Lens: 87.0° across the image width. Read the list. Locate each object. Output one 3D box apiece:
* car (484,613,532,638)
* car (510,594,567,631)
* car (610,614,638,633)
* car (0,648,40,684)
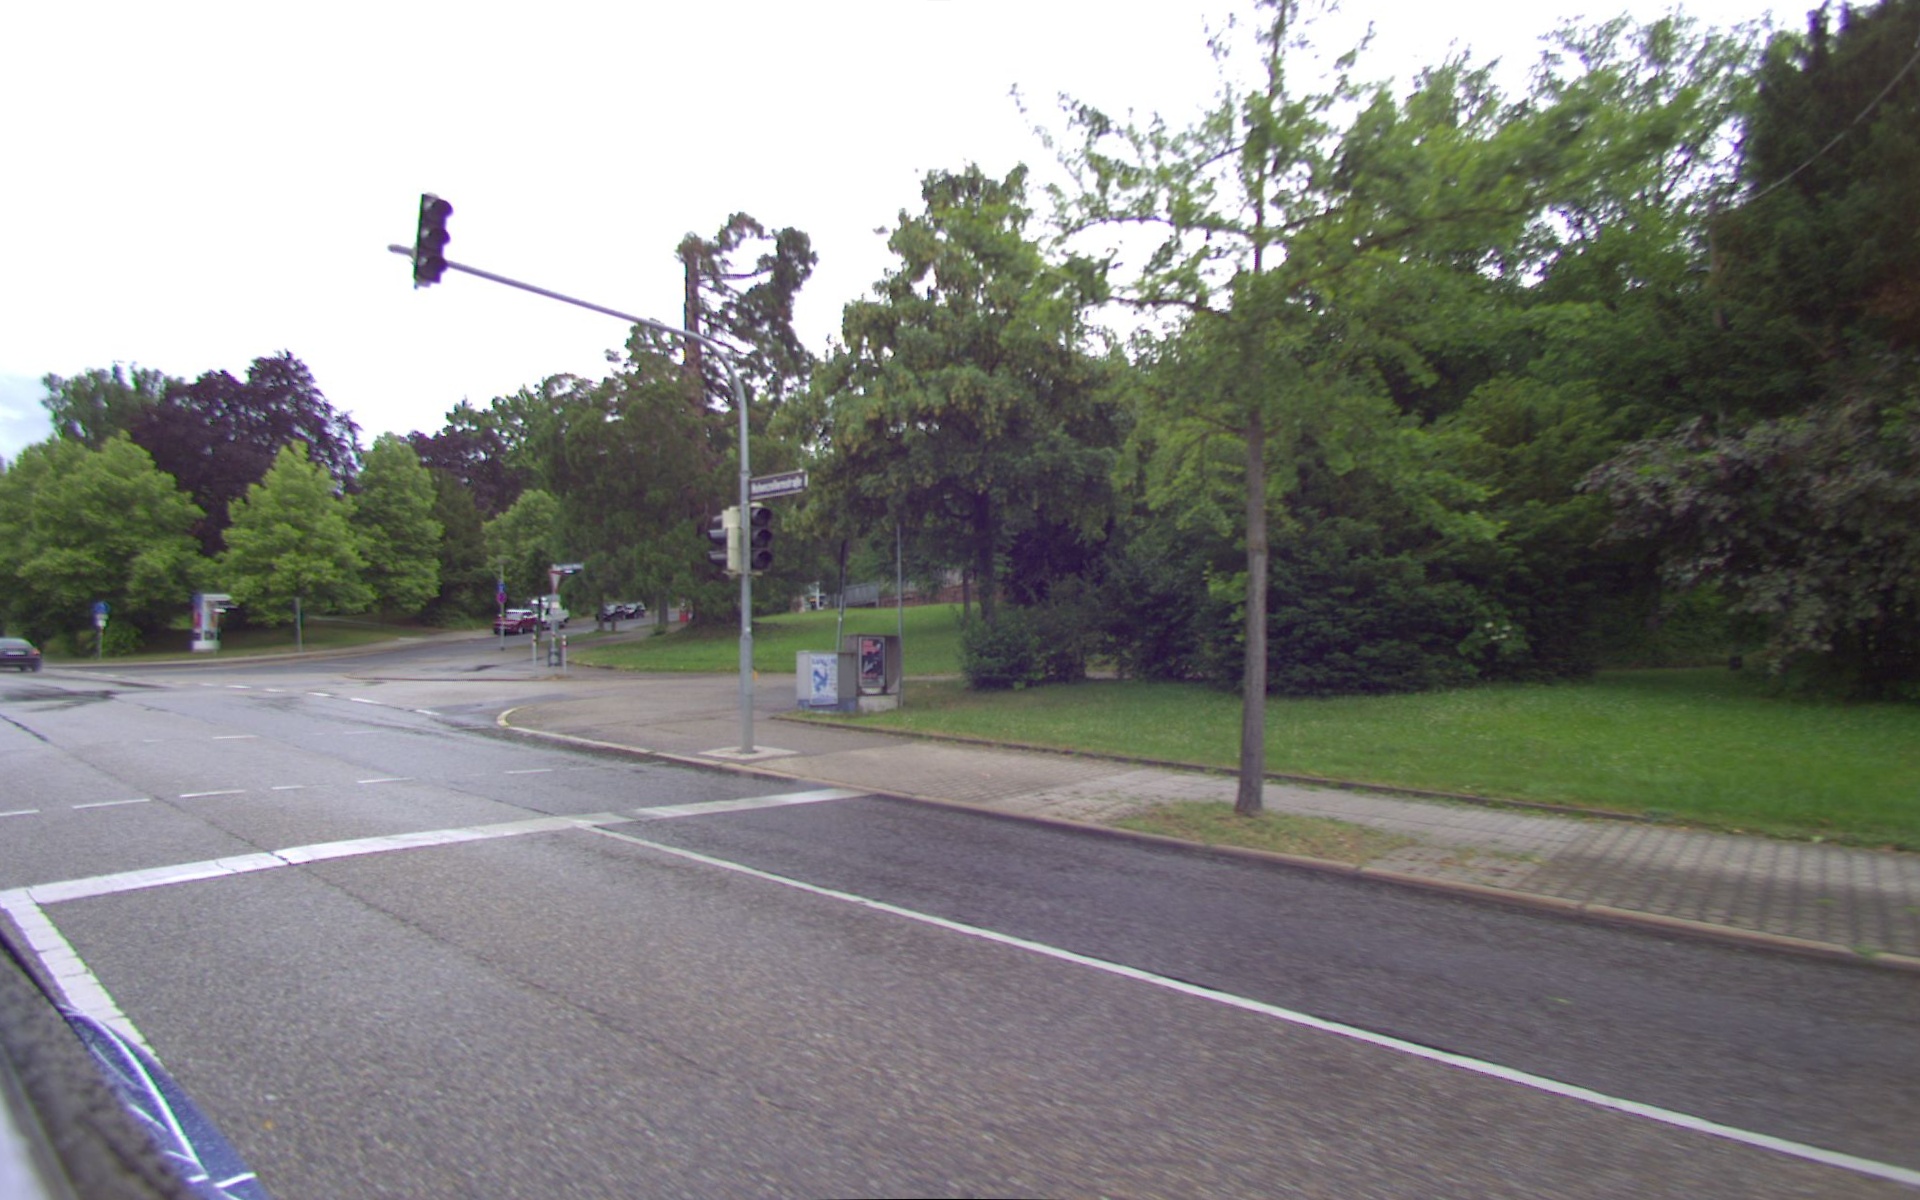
[{"bbox_3d":[-31.705,1.794,71.086,1.947,1.681,4.005,-1,-1,-6],"label":"car"},{"bbox_3d":[-31.849,0.979,76.690,2.126,2.720,5.672,-1,-1,-2],"label":"car"},{"bbox_3d":[-32.082,2.238,96.699,1.799,1.681,4.006,-1,-1,-7],"label":"car"},{"bbox_3d":[-37.422,2.576,39.356,4.076,1.317,1.645,-3,-6,37],"label":"car"}]
